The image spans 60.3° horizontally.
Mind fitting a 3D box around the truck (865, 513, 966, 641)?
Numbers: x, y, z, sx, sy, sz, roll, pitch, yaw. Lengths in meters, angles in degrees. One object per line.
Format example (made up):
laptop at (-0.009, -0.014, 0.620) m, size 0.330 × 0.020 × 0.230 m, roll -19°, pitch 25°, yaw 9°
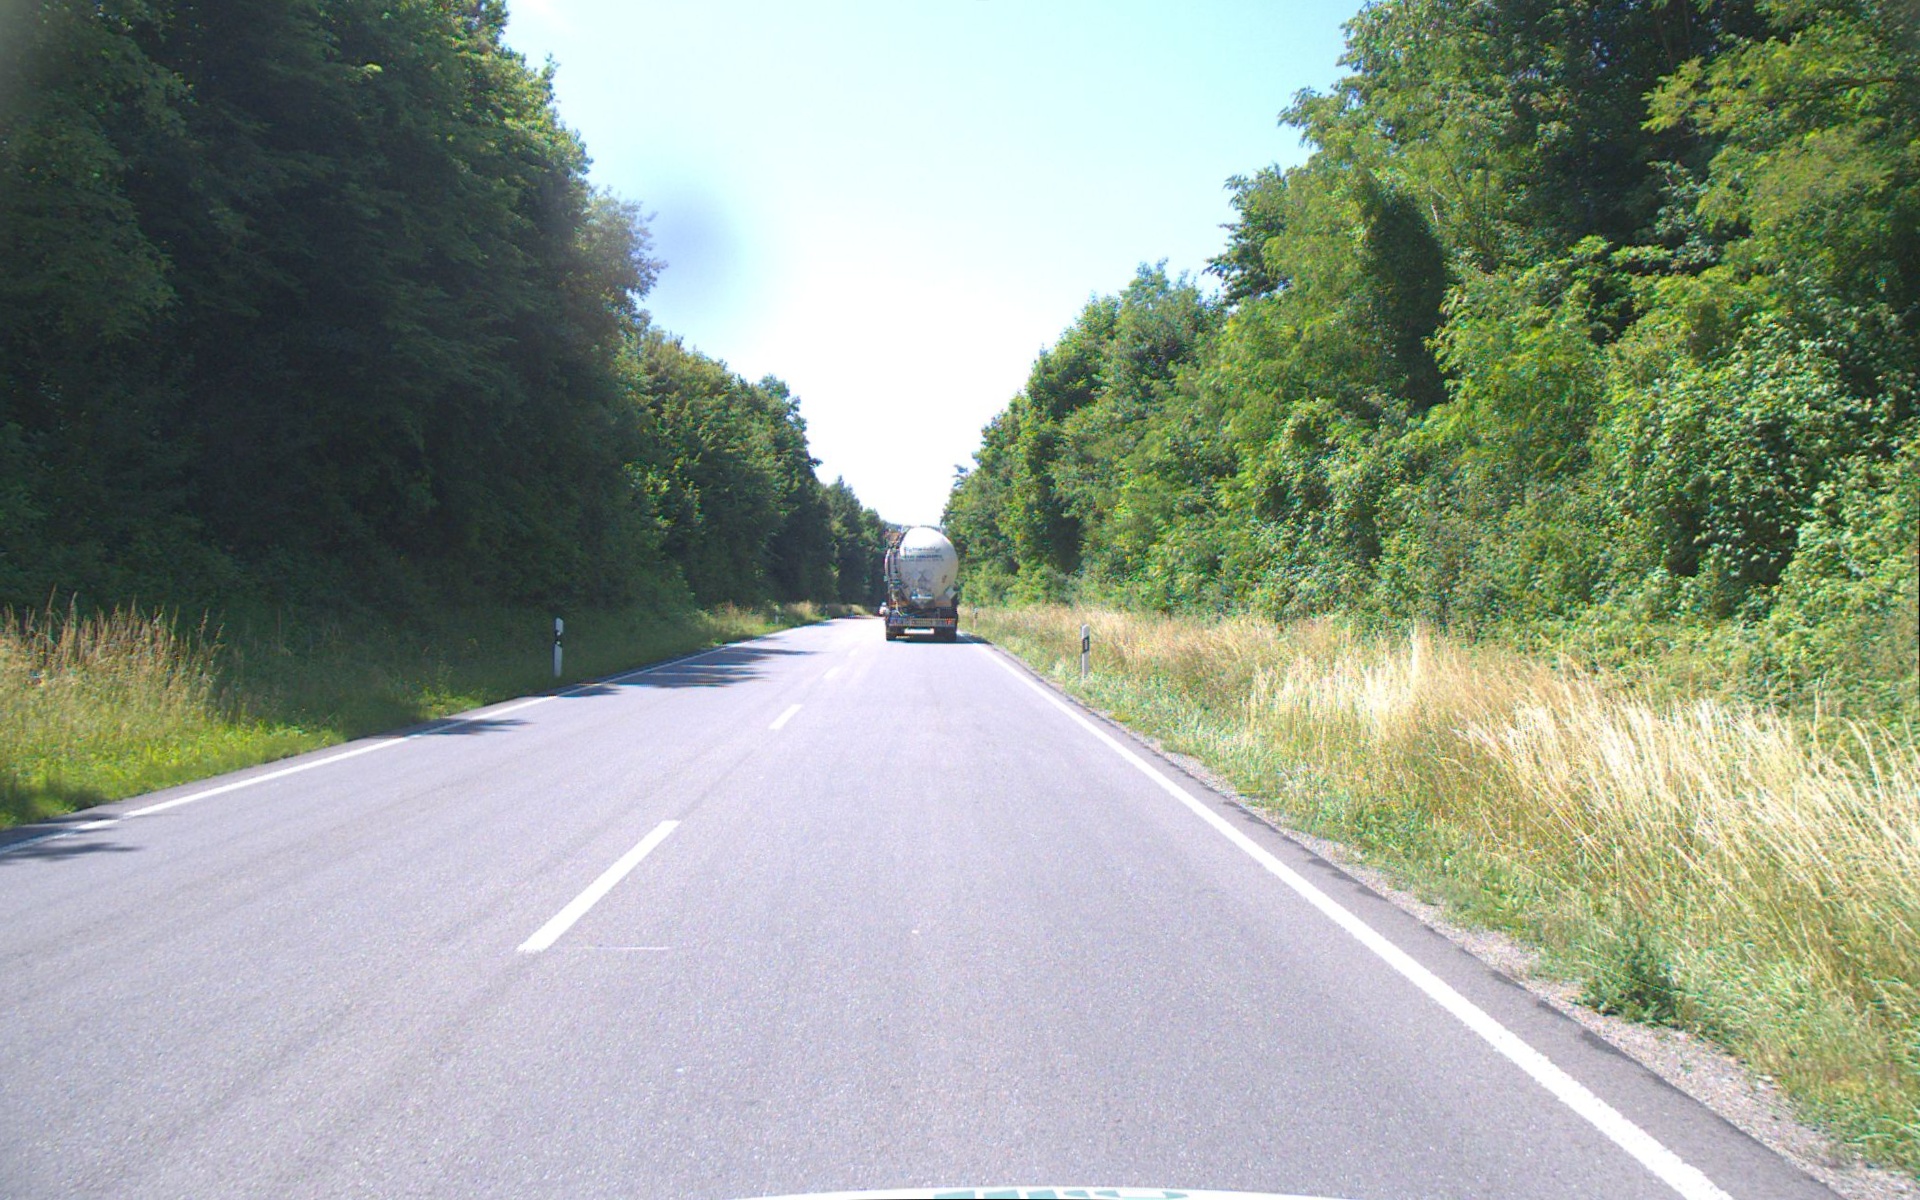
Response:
truck at (-1.917, -0.684, 62.536) m, size 2.989 × 4.068 × 15.622 m, roll 3°, pitch -1°, yaw -4°
